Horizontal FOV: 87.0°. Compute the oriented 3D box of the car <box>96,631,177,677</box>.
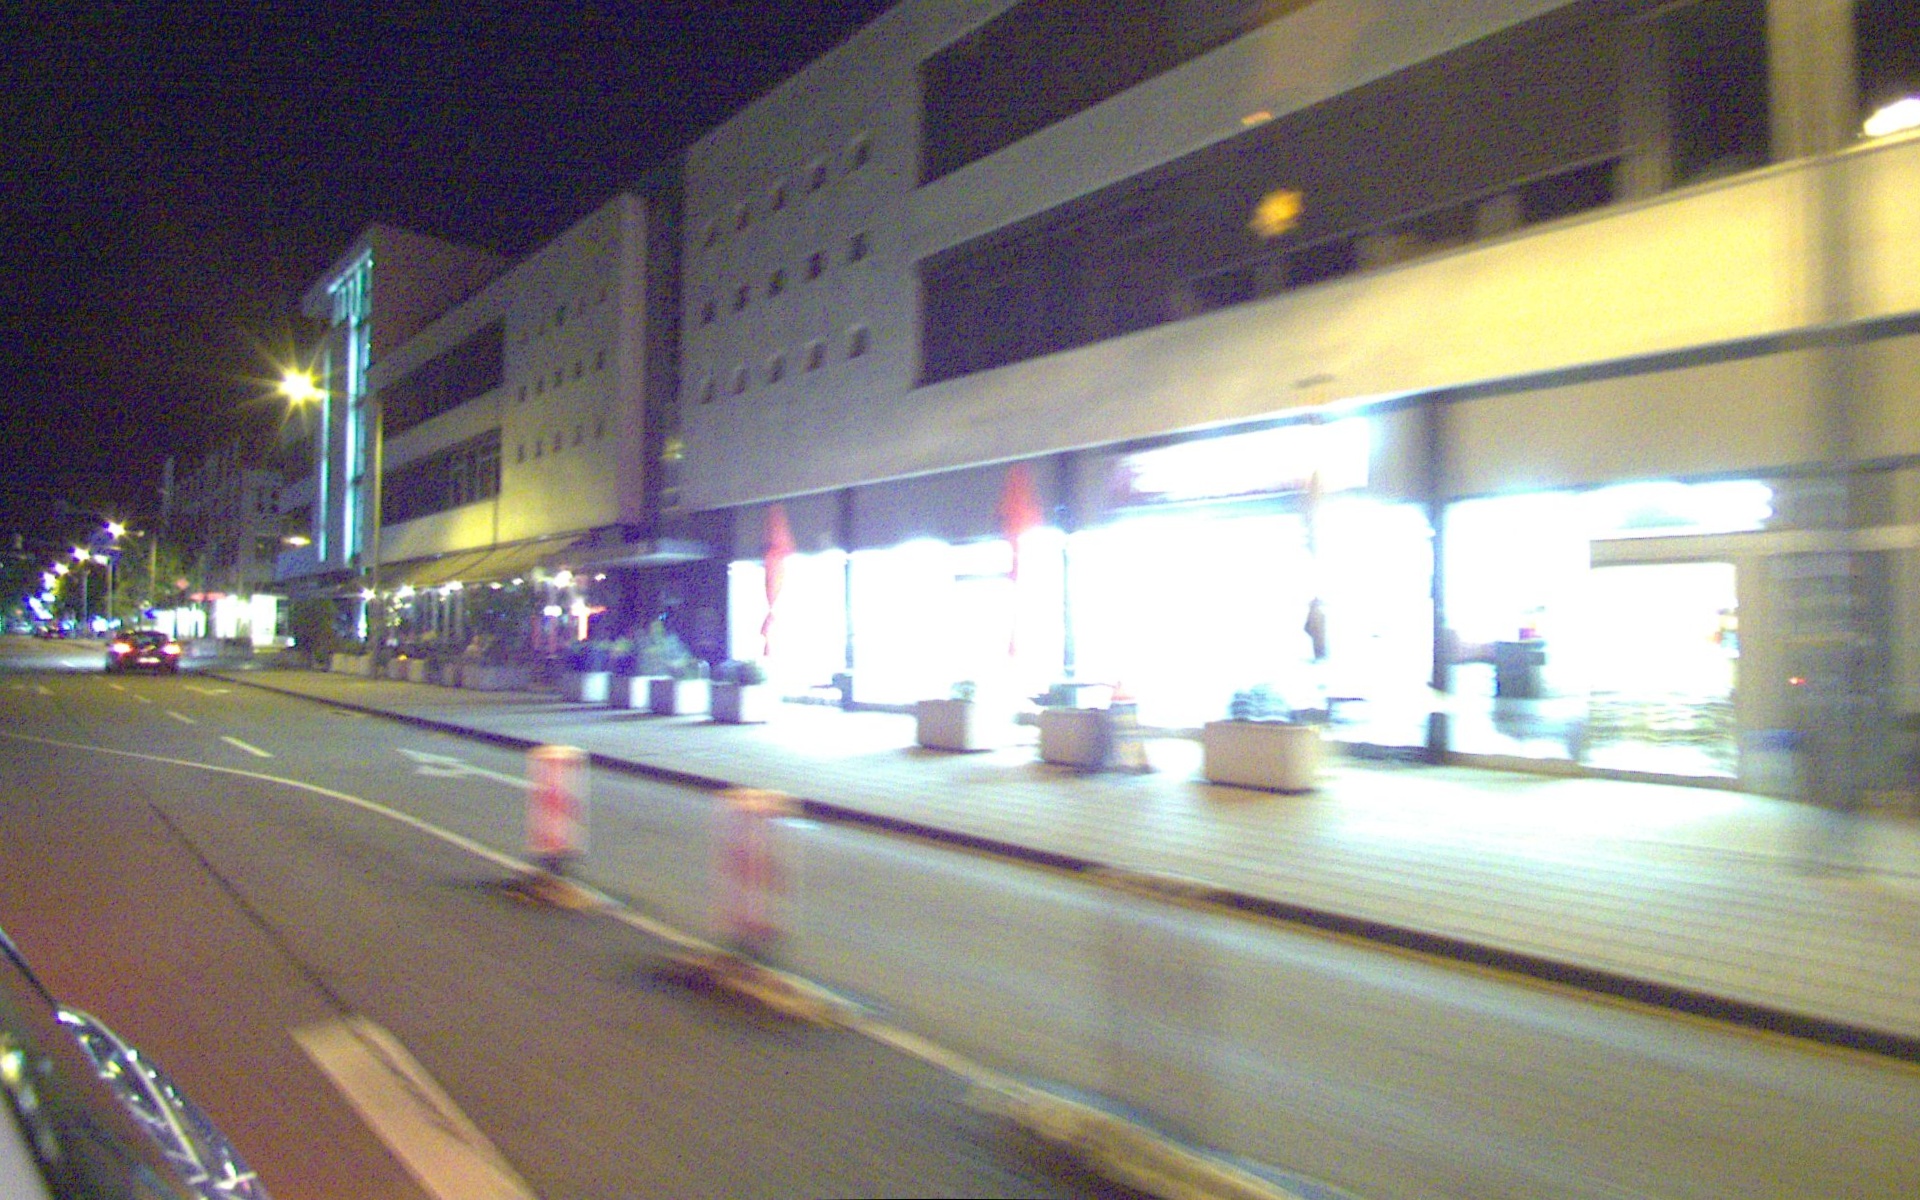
[{"bbox_3d":[-27.887,1.798,34.244,4.002,1.439,1.648,-2,-5,45],"label":"car"}]
